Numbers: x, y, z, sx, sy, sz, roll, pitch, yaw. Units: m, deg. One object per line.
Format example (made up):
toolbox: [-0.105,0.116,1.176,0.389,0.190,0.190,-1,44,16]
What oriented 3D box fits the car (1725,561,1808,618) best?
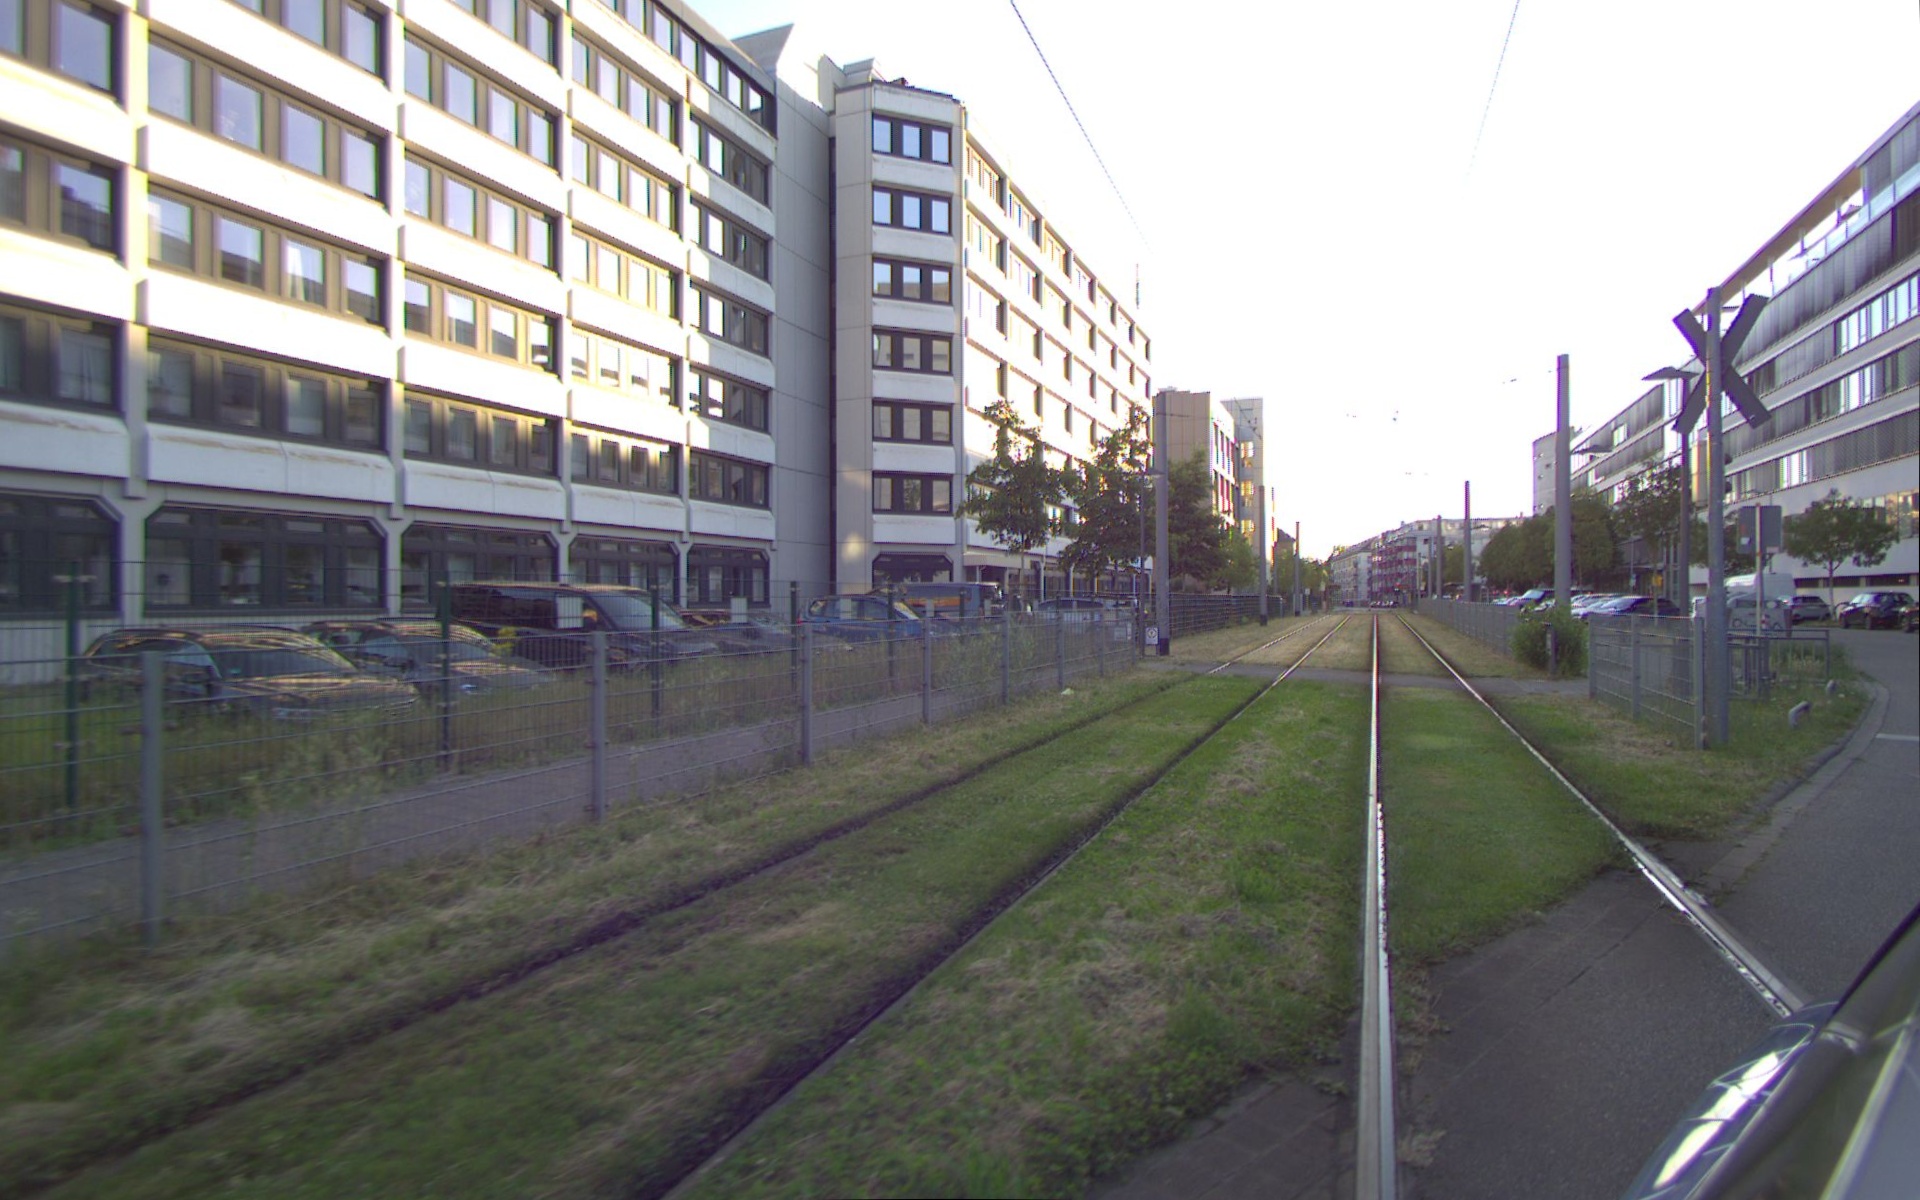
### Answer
car: [43.929,-0.549,55.259,1.984,2.912,6.203,1,0,24]

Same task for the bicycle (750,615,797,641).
bicycle: [-7.518,1.111,40.981,0.805,0.962,2.198,0,0,23]

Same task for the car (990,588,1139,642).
car: [3.287,0.465,32.037,4.359,1.613,1.802,0,0,25]

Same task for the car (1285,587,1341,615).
car: [27.119,0.080,77.748,3.953,2.039,1.985,0,0,22]

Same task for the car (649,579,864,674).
car: [-4.160,0.503,20.656,3.961,1.772,1.981,0,0,28]

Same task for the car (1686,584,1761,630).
car: [26.614,0.235,35.369,1.617,1.531,3.382,0,0,30]

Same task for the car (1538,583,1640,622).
car: [29.357,0.093,47.246,3.917,1.779,1.721,0,0,-12]

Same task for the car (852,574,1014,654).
car: [-0.733,0.353,27.499,3.958,2.039,1.983,-1,0,25]

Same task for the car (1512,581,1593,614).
car: [35.537,-0.155,60.753,4.086,1.984,1.721,0,0,-12]

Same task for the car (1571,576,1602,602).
car: [63.466,-1.074,102.618,1.976,2.618,3.971,0,0,21]

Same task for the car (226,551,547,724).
car: [-7.778,0.449,13.728,3.961,2.039,1.981,0,0,28]

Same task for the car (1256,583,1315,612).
car: [23.744,-0.169,73.753,3.953,2.039,1.985,0,0,22]

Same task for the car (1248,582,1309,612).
car: [22.397,-0.190,71.227,3.953,2.039,1.985,0,0,22]

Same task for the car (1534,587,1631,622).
car: [30.670,0.212,49.875,3.917,1.665,1.721,0,0,-12]

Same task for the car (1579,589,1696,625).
car: [27.339,0.259,40.886,3.916,1.393,1.721,0,0,-14]

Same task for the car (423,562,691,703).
car: [-6.574,0.482,16.490,3.961,2.039,1.981,0,0,28]

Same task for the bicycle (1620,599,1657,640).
bicycle: [19.812,0.560,29.540,0.541,1.149,1.894,-1,-1,45]

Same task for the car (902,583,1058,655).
car: [0.599,0.536,30.318,4.229,2.039,1.983,-1,0,25]

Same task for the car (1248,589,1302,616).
car: [25.043,0.200,80.368,3.953,2.039,1.985,0,0,22]

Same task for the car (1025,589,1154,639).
car: [4.358,0.462,33.996,3.958,1.613,1.802,0,0,25]

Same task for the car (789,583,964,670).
car: [-2.103,0.621,25.423,3.958,2.039,1.983,0,0,25]

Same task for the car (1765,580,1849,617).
car: [41.661,-0.067,49.900,1.774,1.724,3.976,1,0,18]

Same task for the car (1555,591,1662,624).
car: [28.570,0.327,44.618,3.916,1.393,1.721,0,0,-14]

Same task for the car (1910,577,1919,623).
car: [36.024,0.081,36.008,1.776,1.707,3.972,4,2,21]

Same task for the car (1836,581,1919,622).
car: [38.267,0.065,41.844,1.776,1.571,3.972,-2,-1,21]

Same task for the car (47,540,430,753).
car: [-8.207,0.455,11.506,3.961,2.039,1.981,0,0,28]
